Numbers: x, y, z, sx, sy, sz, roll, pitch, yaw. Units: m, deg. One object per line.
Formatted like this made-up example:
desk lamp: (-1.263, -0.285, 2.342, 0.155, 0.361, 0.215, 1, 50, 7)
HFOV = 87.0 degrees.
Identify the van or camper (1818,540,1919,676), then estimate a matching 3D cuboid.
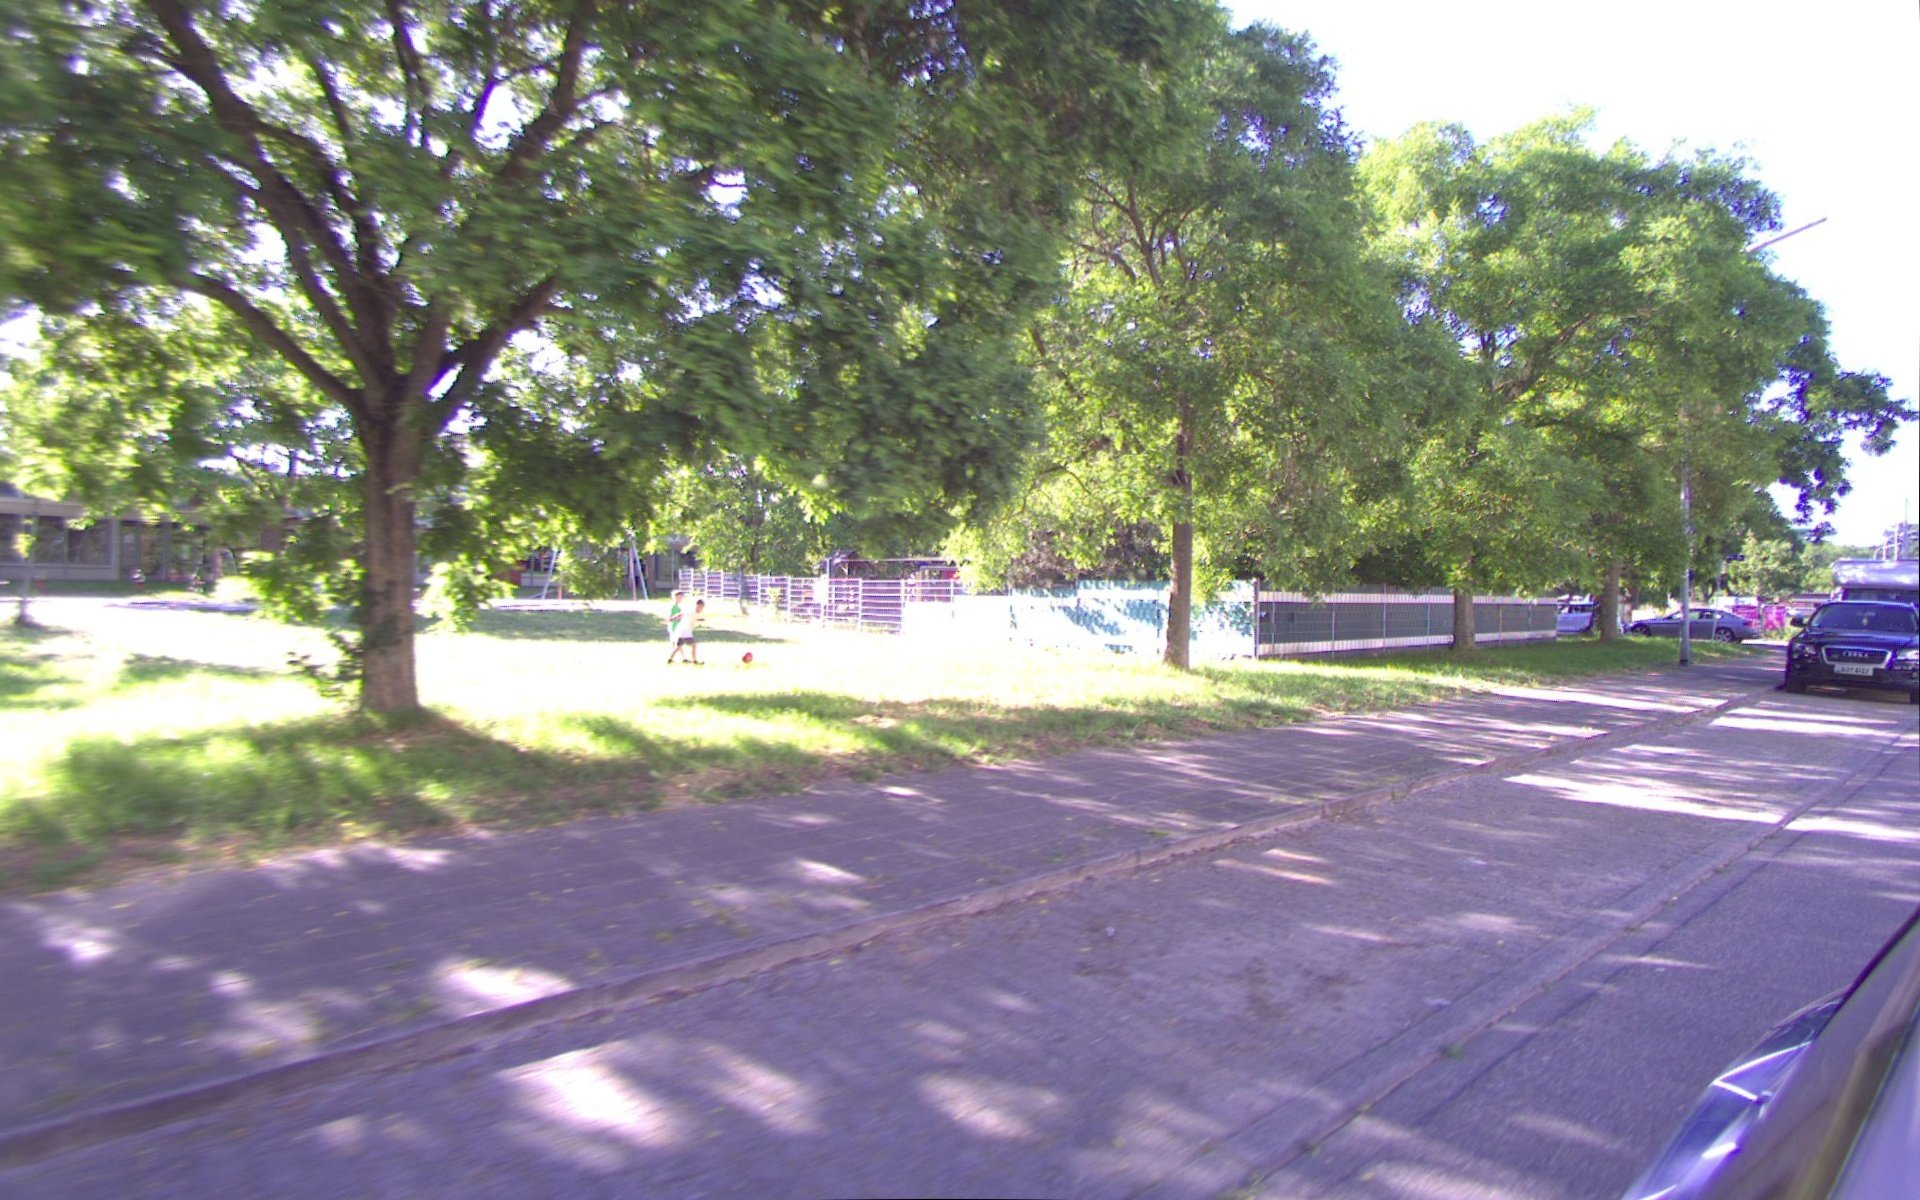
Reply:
van or camper: (21.090, 0.178, 22.381, 6.317, 2.628, 2.356, 1, 3, -43)

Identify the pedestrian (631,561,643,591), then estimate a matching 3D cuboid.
pedestrian: (-19.951, -1.477, 62.516, 0.535, 1.818, 0.556, 1, 1, -41)

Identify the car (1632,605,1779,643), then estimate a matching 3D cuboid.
car: (29.420, 0.916, 40.043, 1.714, 1.354, 4.434, 3, -1, -39)

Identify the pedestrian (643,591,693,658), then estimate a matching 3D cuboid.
pedestrian: (-5.005, 0.404, 17.368, 0.629, 1.102, 0.503, 2, 1, 29)

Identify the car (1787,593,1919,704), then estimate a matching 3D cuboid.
car: (16.183, 0.782, 17.838, 4.462, 1.660, 1.995, 1, 2, -45)

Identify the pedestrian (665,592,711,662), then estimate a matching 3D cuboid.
pedestrian: (-4.463, 0.433, 16.654, 0.689, 1.102, 0.725, 2, 1, -13)

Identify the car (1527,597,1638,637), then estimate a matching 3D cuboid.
car: (26.737, 0.698, 43.549, 1.794, 1.598, 3.695, 1, 0, -36)
